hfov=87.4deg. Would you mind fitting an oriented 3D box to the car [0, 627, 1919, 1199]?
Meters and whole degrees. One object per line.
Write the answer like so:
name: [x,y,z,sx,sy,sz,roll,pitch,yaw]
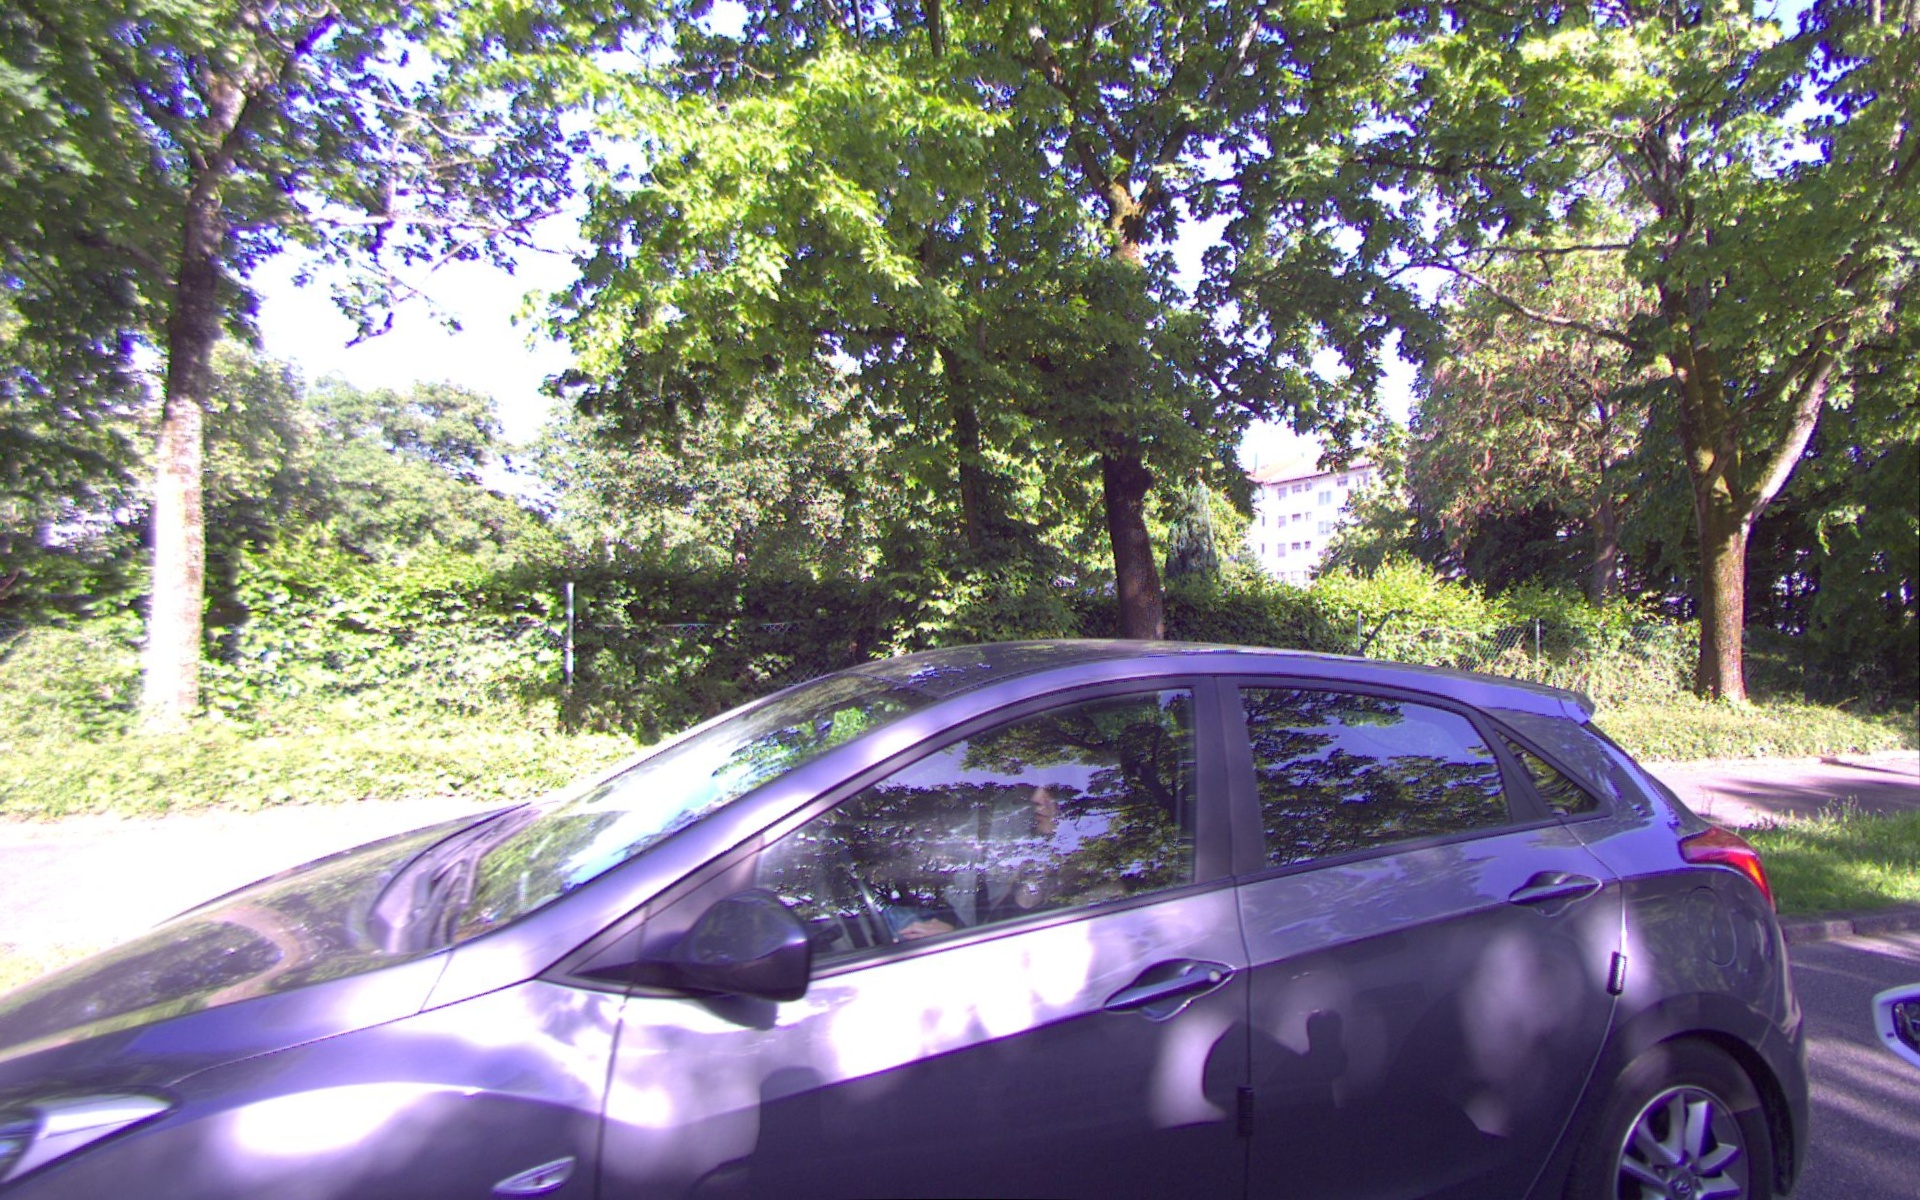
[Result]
car: [0.019,0.809,2.471,4.176,1.473,1.754,1,-2,-18]
